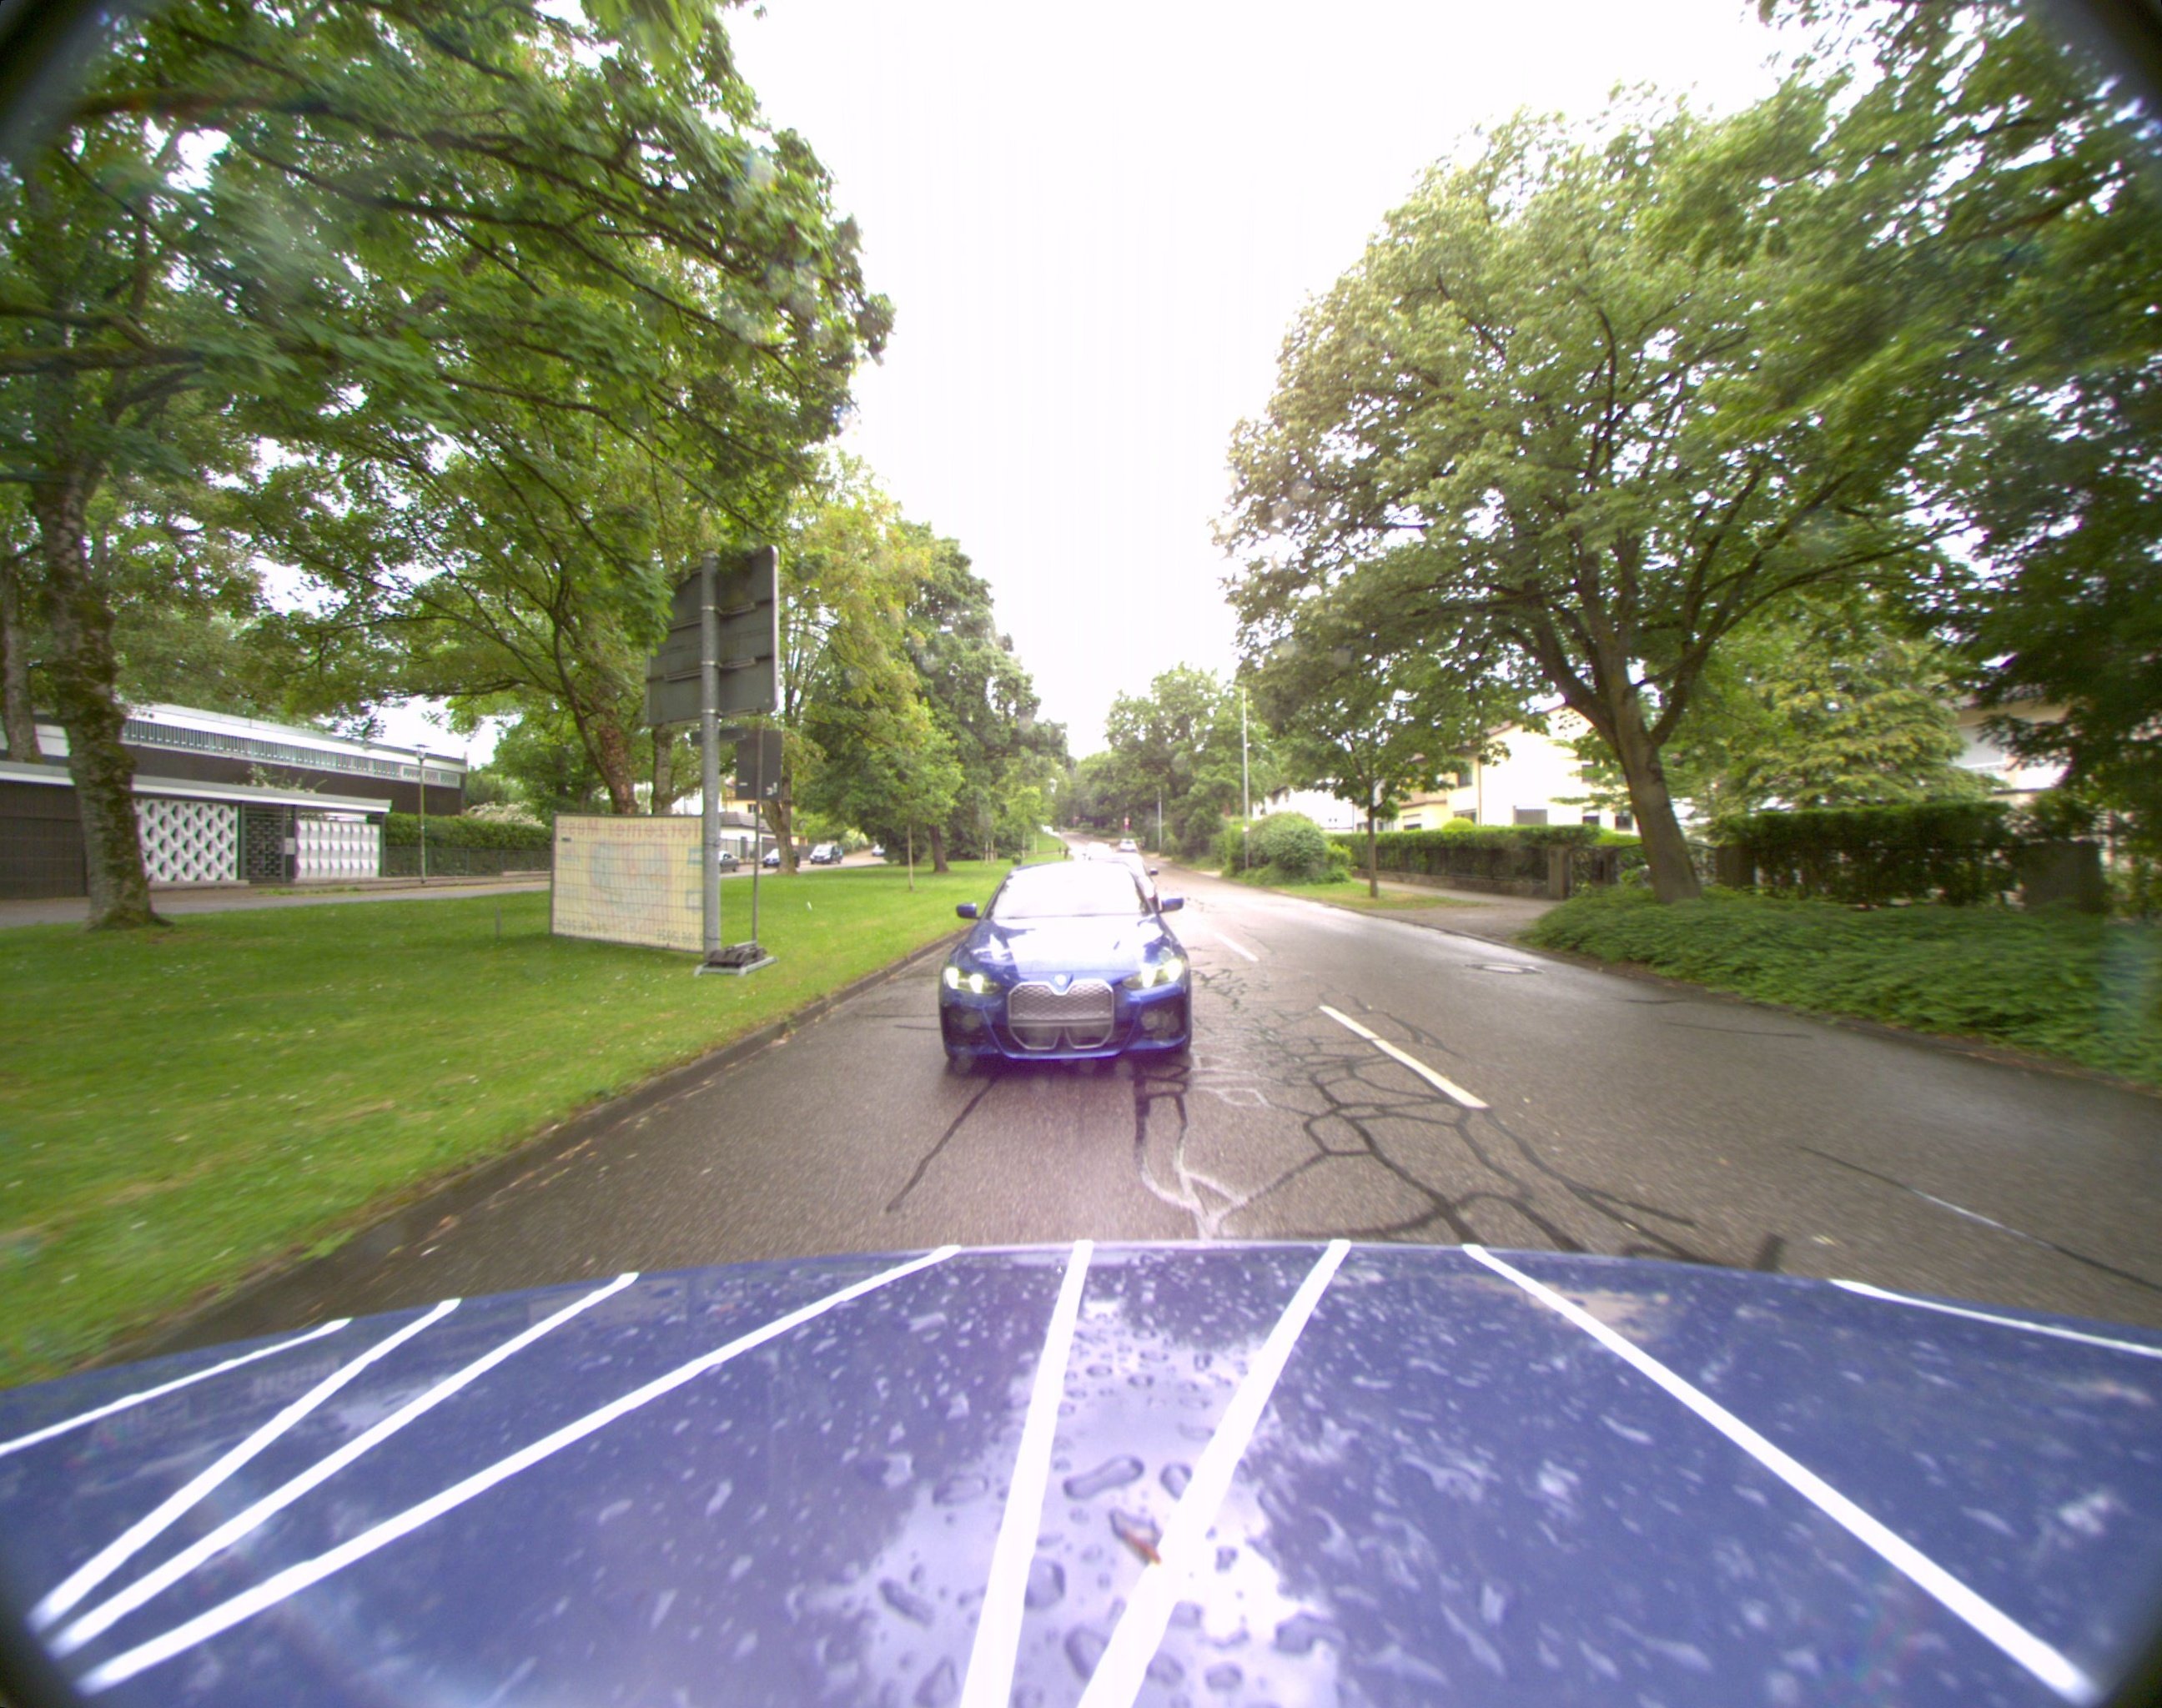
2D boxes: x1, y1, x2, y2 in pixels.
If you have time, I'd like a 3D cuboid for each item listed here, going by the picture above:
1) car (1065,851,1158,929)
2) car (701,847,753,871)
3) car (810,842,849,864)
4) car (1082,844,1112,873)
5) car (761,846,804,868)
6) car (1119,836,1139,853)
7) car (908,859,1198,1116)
[{"bbox_3d":[0.710,0.702,17.165,1.795,1.459,4.510,-1,1,3],"label":"car"},{"bbox_3d":[-22.967,0.302,49.414,1.685,1.368,3.708,1,1,-1],"label":"car"},{"bbox_3d":[-24.112,-0.125,72.943,2.165,1.868,5.067,0,2,-2],"label":"car"},{"bbox_3d":[0.923,0.200,43.891,1.678,1.542,3.831,0,2,2],"label":"car"},{"bbox_3d":[-23.736,0.207,60.503,1.907,1.615,4.033,0,2,-2],"label":"car"},{"bbox_3d":[4.752,-0.937,75.482,1.768,1.605,4.140,0,1,0],"label":"car"},{"bbox_3d":[-0.068,0.878,7.083,1.796,1.459,4.509,-2,1,3],"label":"car"}]
